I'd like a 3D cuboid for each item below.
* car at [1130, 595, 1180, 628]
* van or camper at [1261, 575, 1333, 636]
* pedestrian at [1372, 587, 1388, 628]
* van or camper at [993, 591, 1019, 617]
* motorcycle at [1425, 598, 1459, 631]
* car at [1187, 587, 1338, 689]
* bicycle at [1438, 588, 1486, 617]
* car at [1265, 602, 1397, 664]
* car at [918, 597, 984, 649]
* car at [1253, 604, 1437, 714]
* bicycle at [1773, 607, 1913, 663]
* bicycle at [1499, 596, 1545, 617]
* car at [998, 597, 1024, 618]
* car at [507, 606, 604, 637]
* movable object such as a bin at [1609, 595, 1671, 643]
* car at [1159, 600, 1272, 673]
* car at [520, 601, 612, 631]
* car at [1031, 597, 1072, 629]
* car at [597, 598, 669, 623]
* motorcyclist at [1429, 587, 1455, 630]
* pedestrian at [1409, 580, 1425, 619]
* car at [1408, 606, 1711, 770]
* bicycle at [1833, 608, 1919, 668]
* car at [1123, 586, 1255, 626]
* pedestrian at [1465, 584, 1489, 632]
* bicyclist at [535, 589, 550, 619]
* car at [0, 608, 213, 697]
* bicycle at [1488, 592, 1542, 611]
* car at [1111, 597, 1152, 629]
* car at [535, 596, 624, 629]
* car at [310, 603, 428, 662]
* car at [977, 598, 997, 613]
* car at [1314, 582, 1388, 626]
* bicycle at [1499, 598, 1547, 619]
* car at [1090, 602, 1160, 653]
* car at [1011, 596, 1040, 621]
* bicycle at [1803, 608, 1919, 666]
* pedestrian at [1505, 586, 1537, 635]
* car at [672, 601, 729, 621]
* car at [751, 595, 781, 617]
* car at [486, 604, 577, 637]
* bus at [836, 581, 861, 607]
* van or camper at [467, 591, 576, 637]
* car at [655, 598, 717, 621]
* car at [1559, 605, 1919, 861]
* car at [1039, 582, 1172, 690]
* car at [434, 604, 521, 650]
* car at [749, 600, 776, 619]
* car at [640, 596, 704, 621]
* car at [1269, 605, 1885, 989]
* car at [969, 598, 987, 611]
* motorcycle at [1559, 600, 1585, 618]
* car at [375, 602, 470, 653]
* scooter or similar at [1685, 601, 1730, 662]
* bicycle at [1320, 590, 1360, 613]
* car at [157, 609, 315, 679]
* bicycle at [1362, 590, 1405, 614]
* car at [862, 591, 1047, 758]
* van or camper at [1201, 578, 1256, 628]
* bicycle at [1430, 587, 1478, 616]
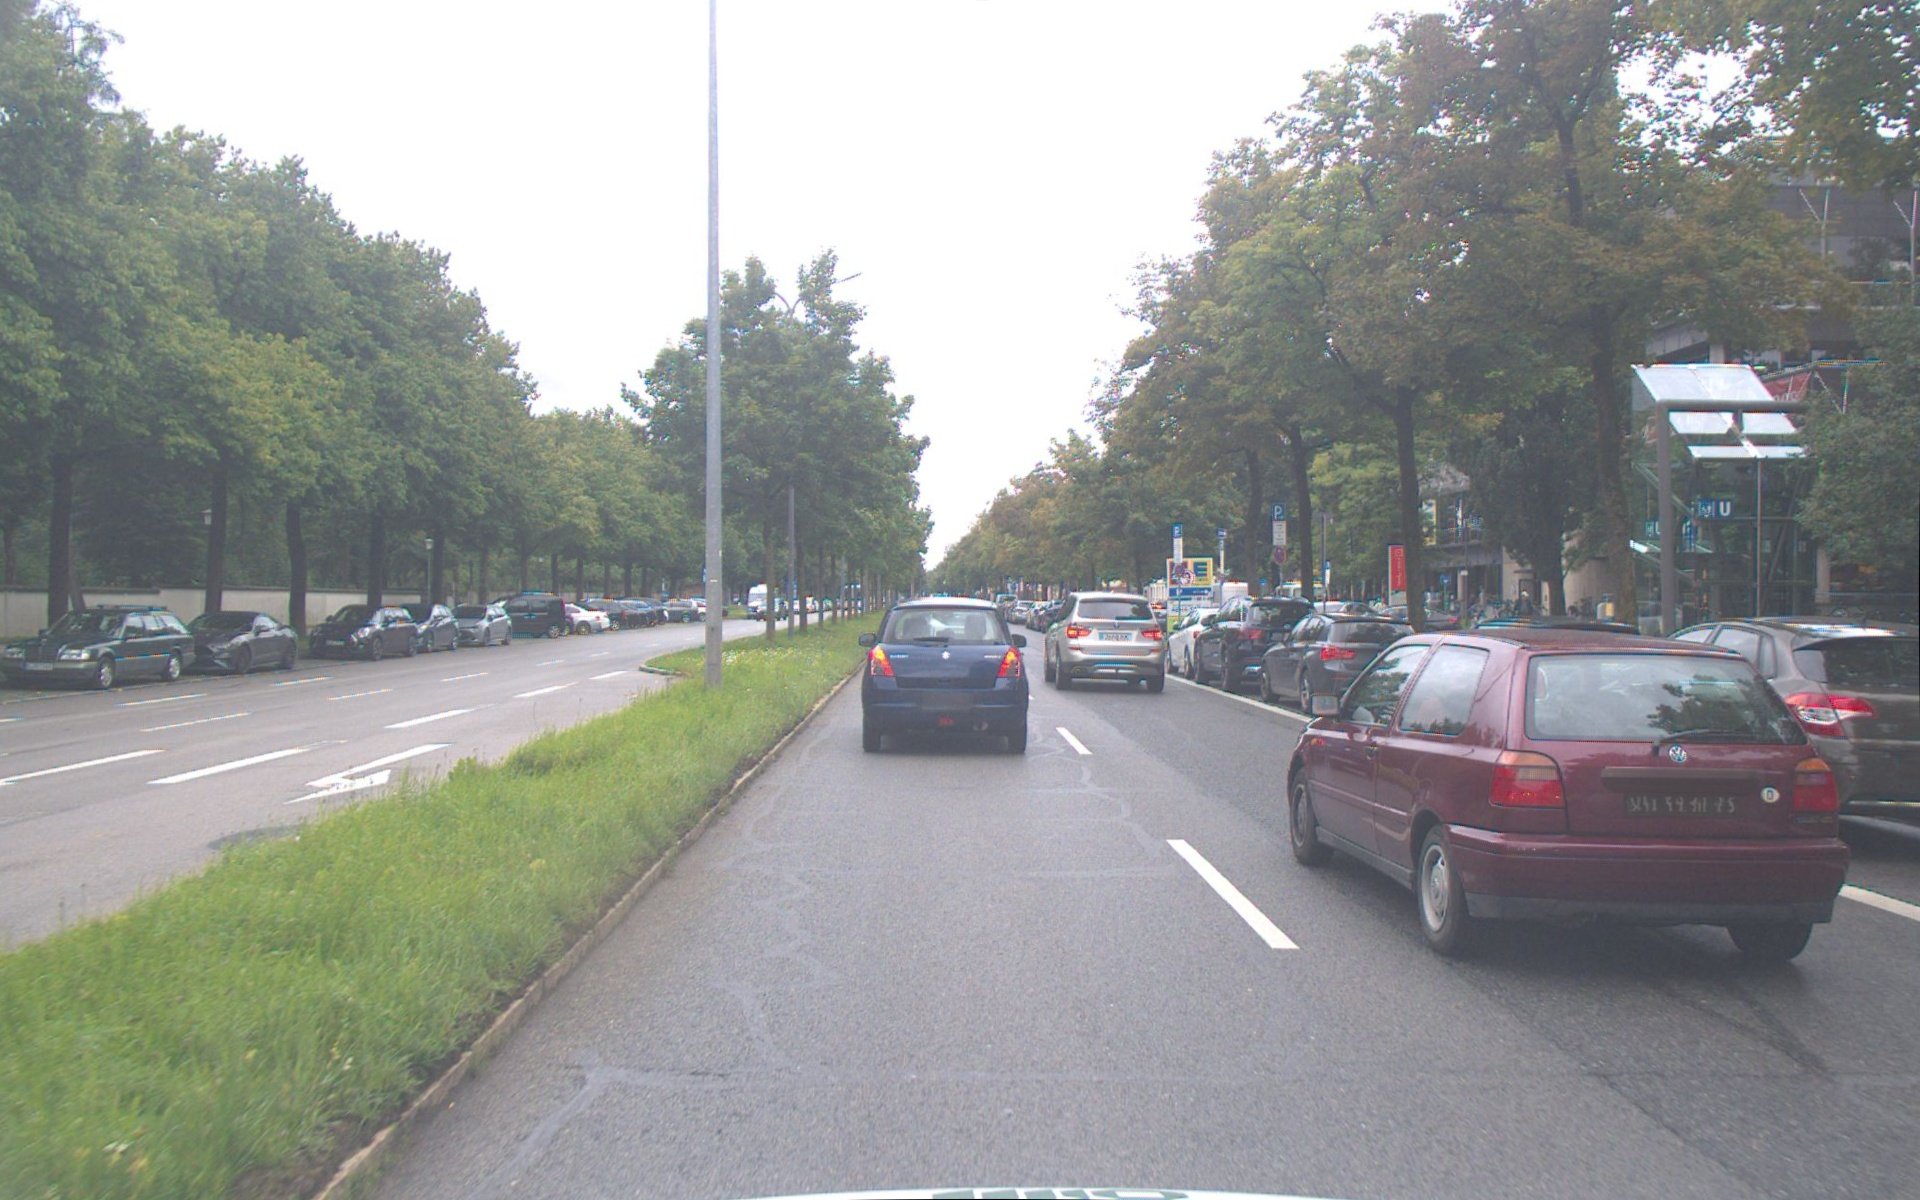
[{"bbox_3d":[9.056,0.528,77.088,1.713,1.505,4.007,0,0,-3],"label":"car"},{"bbox_3d":[14.998,0.218,73.930,1.953,2.602,5.955,0,0,-1],"label":"van or camper"},{"bbox_3d":[18.549,0.335,73.063,0.563,1.782,0.732,0,0,3],"label":"pedestrian"},{"bbox_3d":[3.711,0.325,133.846,1.905,2.009,4.306,0,0,0],"label":"van or camper"},{"bbox_3d":[20.261,0.582,69.566,0.682,1.313,2.066,-4,0,-1],"label":"motorcycle"},{"bbox_3d":[5.347,0.627,29.778,1.750,1.704,4.594,0,0,-2],"label":"car"},{"bbox_3d":[26.882,0.141,88.515,2.574,1.534,0.793,0,0,-23],"label":"bicycle"},{"bbox_3d":[10.607,0.902,47.052,1.934,1.653,4.827,1,0,36],"label":"car"},{"bbox_3d":[-0.318,0.648,49.181,1.813,1.472,4.095,0,0,-3],"label":"car"},{"bbox_3d":[5.580,0.799,24.479,1.600,1.464,4.303,0,0,-2],"label":"car"},{"bbox_3d":[17.707,0.697,33.201,2.490,1.108,0.647,0,0,-1],"label":"bicycle"},{"bbox_3d":[27.143,0.306,79.898,2.007,0.975,0.743,0,0,36],"label":"bicycle"},{"bbox_3d":[3.895,0.585,127.442,1.651,1.581,4.303,0,0,-4],"label":"car"},{"bbox_3d":[-18.623,0.974,76.191,3.955,1.378,1.827,0,0,-36],"label":"car"},{"bbox_3d":[20.646,0.580,50.237,1.309,1.434,1.314,0,0,-3],"label":"movable object such as a bin"},{"bbox_3d":[5.393,0.736,35.403,1.620,1.459,4.481,0,0,-2],"label":"car"},{"bbox_3d":[-18.887,0.749,79.311,3.999,1.405,1.653,0,0,-37],"label":"car"},{"bbox_3d":[4.580,0.632,83.230,1.728,1.573,4.423,0,0,-1],"label":"car"},{"bbox_3d":[-20.449,0.645,103.527,4.054,1.527,1.899,0,0,-32],"label":"car"},{"bbox_3d":[20.233,0.346,69.457,0.677,1.767,0.953,-4,0,-1],"label":"motorcyclist"},{"bbox_3d":[21.031,-0.036,76.189,0.563,1.782,0.732,0,0,3],"label":"pedestrian"},{"bbox_3d":[6.023,0.812,17.130,1.601,1.479,4.077,0,0,-1],"label":"car"},{"bbox_3d":[17.728,0.706,30.912,2.490,1.108,0.647,0,0,-1],"label":"bicycle"},{"bbox_3d":[8.662,0.209,62.621,4.724,1.479,1.689,0,0,22],"label":"car"},{"bbox_3d":[19.443,0.302,62.207,0.528,1.751,0.987,-2,0,-1],"label":"pedestrian"},{"bbox_3d":[-24.769,0.240,98.114,0.690,1.777,0.922,0,0,-1],"label":"bicyclist"},{"bbox_3d":[-16.502,0.954,32.147,1.763,1.516,4.914,1,0,-1],"label":"car"},{"bbox_3d":[26.467,0.051,78.853,2.361,0.885,0.766,0,0,43],"label":"bicycle"},{"bbox_3d":[8.741,0.654,84.718,1.650,1.613,4.008,0,0,-1],"label":"car"},{"bbox_3d":[-19.469,0.609,84.667,4.069,1.625,1.892,0,0,-40],"label":"car"},{"bbox_3d":[-16.499,0.874,46.397,1.538,1.529,4.305,1,0,3],"label":"car"},{"bbox_3d":[2.828,0.566,172.157,1.813,1.472,4.095,0,0,-3],"label":"car"},{"bbox_3d":[15.437,0.160,65.480,1.953,1.680,3.999,0,0,-1],"label":"car"},{"bbox_3d":[26.354,0.389,77.455,2.012,0.975,0.742,0,0,43],"label":"bicycle"},{"bbox_3d":[5.394,0.871,54.531,1.726,1.617,4.450,0,0,-2],"label":"car"},{"bbox_3d":[4.203,0.527,106.208,1.650,1.552,4.455,2,0,0],"label":"car"},{"bbox_3d":[17.704,0.702,31.982,2.490,1.108,0.647,0,0,-1],"label":"bicycle"},{"bbox_3d":[20.532,0.372,60.548,0.811,1.751,0.939,-2,0,-1],"label":"pedestrian"},{"bbox_3d":[-20.244,0.859,128.946,4.059,1.500,1.684,1,-1,-35],"label":"car"},{"bbox_3d":[-14.314,0.435,121.976,1.875,1.569,4.185,0,0,-3],"label":"car"},{"bbox_3d":[-18.807,0.879,72.613,3.533,1.378,1.735,0,0,-32],"label":"car"},{"bbox_3d":[-15.257,-0.790,227.118,2.682,3.436,12.011,-2,0,0],"label":"bus"},{"bbox_3d":[-18.439,0.580,69.666,4.090,1.887,1.822,0,0,-42],"label":"van or camper"},{"bbox_3d":[-19.890,0.654,119.981,4.059,1.612,1.896,0,0,-35],"label":"car"},{"bbox_3d":[6.037,0.812,12.164,1.683,1.535,4.222,0,0,-1],"label":"car"},{"bbox_3d":[2.497,0.594,29.248,1.813,1.773,4.095,0,0,-3],"label":"car"},{"bbox_3d":[-16.887,0.921,58.115,1.602,1.464,4.808,1,0,0],"label":"car"},{"bbox_3d":[-16.436,0.780,137.752,1.875,1.569,4.185,0,0,-3],"label":"car"},{"bbox_3d":[-20.243,0.602,116.337,4.059,1.725,1.896,0,0,-35],"label":"car"},{"bbox_3d":[2.786,0.772,8.447,1.589,1.479,3.948,0,0,-2],"label":"car"},{"bbox_3d":[2.009,0.497,185.986,1.813,1.472,4.095,0,0,-3],"label":"car"},{"bbox_3d":[29.705,0.421,80.264,0.834,0.881,1.569,0,0,6],"label":"motorcycle"},{"bbox_3d":[-16.798,0.834,51.927,1.554,1.484,4.797,1,0,-2],"label":"car"},{"bbox_3d":[15.789,0.661,34.970,0.411,1.254,1.237,0,0,1],"label":"scooter or similar"},{"bbox_3d":[26.281,0.112,114.310,2.560,1.534,0.797,0,0,-8],"label":"bicycle"},{"bbox_3d":[-16.525,0.959,38.010,1.625,1.420,4.706,1,0,-1],"label":"car"},{"bbox_3d":[27.033,0.108,105.481,2.560,1.534,0.797,0,0,-8],"label":"bicycle"},{"bbox_3d":[-0.139,0.705,17.701,1.753,1.583,3.998,0,0,-3],"label":"car"},{"bbox_3d":[14.626,0.160,90.514,1.983,2.602,5.955,0,0,-1],"label":"van or camper"},{"bbox_3d":[26.757,0.068,89.578,2.574,1.534,0.793,0,0,-23],"label":"bicycle"}]
